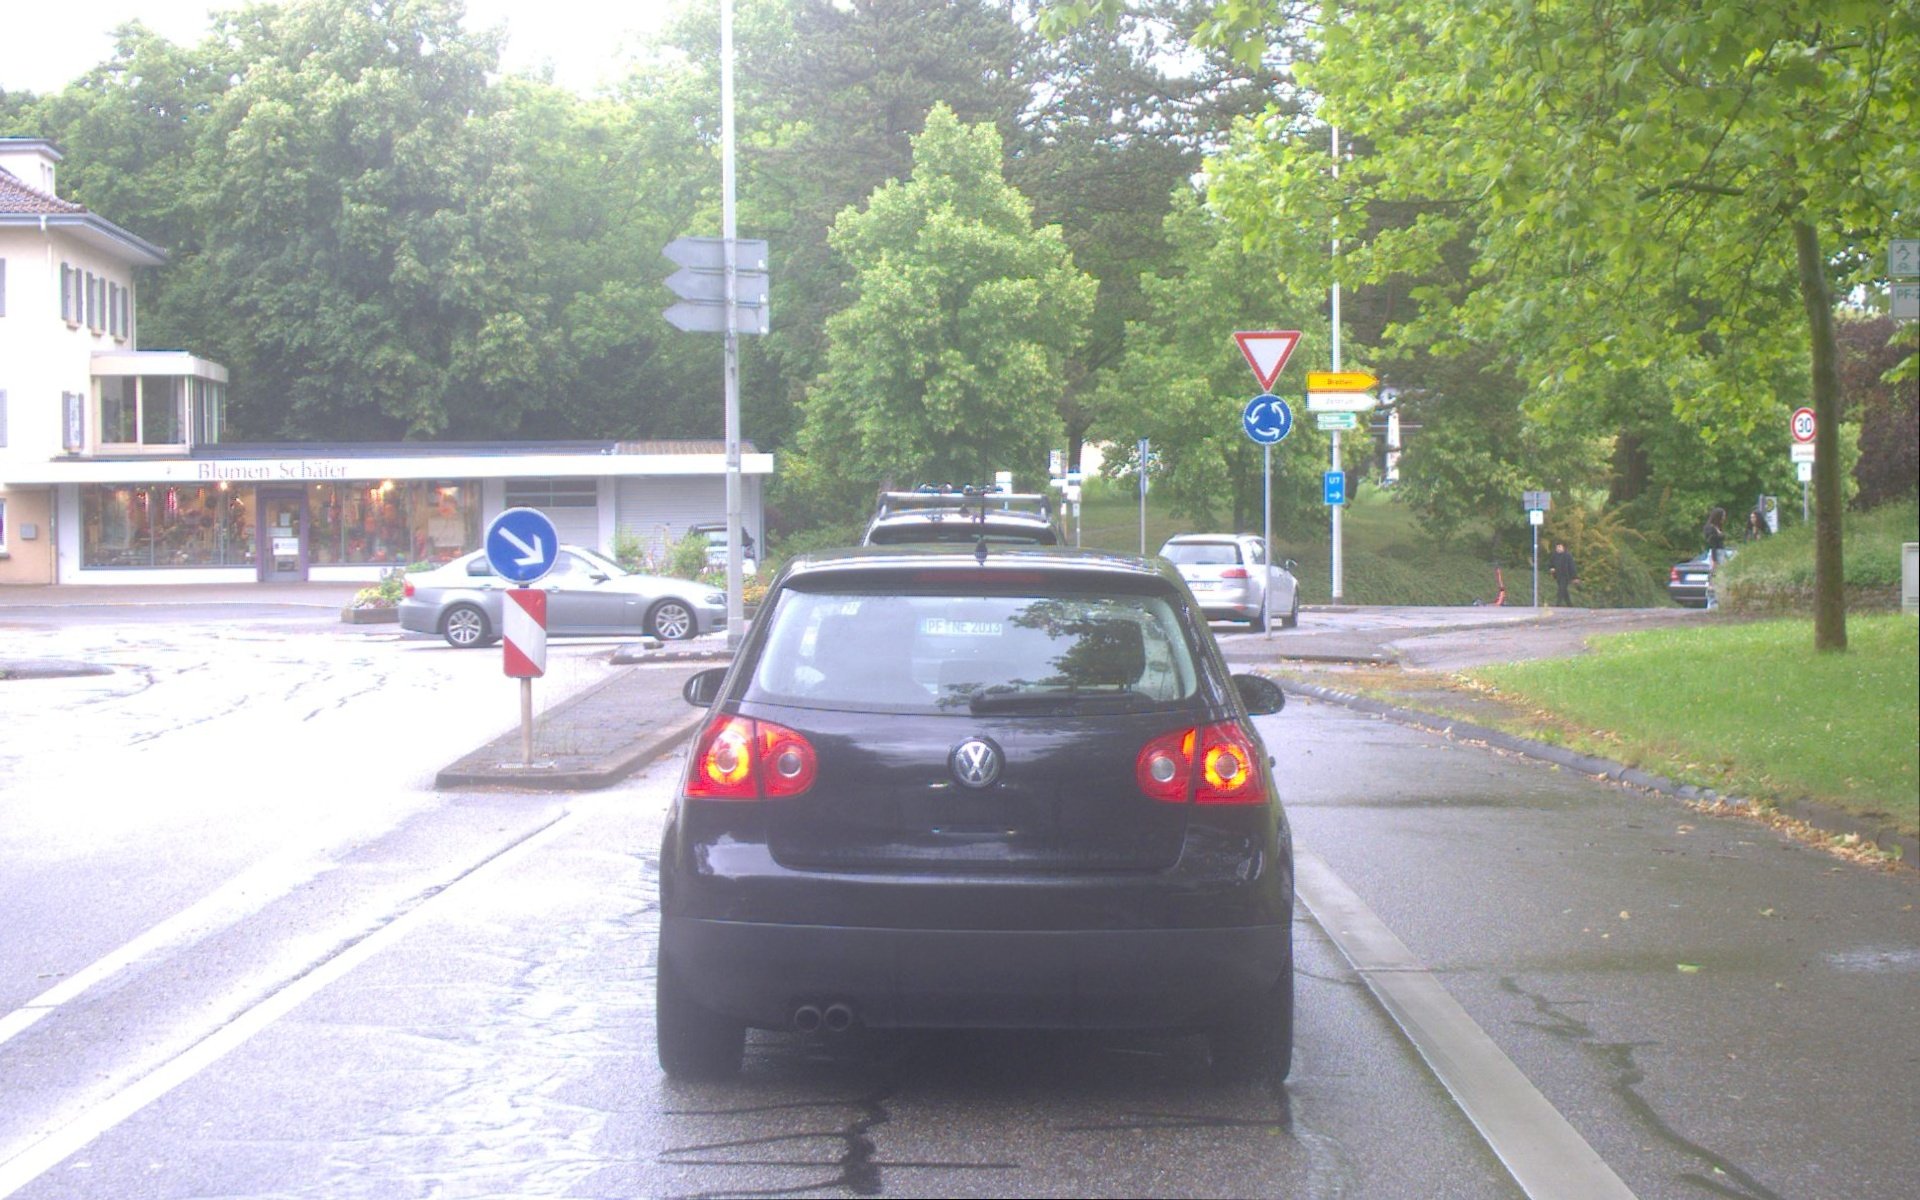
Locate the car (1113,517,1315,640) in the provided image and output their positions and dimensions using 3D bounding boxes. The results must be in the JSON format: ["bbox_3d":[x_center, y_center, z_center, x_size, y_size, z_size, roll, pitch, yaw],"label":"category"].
[{"bbox_3d":[3.846,-0.329,51.355,1.995,1.735,4.140,1,1,19],"label":"car"}]

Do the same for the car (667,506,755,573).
[{"bbox_3d":[-5.803,-1.415,79.815,1.812,1.481,3.832,-2,1,-7],"label":"car"}]

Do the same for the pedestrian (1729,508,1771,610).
[{"bbox_3d":[13.344,-0.693,58.085,0.634,1.707,0.529,1,1,16],"label":"pedestrian"}]

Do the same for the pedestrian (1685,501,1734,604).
[{"bbox_3d":[12.506,-0.796,57.382,0.528,1.707,0.636,1,1,-14],"label":"pedestrian"}]

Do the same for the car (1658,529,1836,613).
[{"bbox_3d":[15.088,-0.551,65.780,1.997,1.525,3.992,1,1,34],"label":"car"}]

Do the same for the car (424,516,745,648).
[{"bbox_3d":[-5.067,-0.252,46.768,4.020,1.678,2.000,1,1,4],"label":"car"}]

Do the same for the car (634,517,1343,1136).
[{"bbox_3d":[0.052,0.527,10.689,1.764,1.533,4.000,1,1,-1],"label":"car"}]

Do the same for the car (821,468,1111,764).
[{"bbox_3d":[-0.020,0.072,23.484,1.764,1.795,4.246,-1,1,-2],"label":"car"}]
